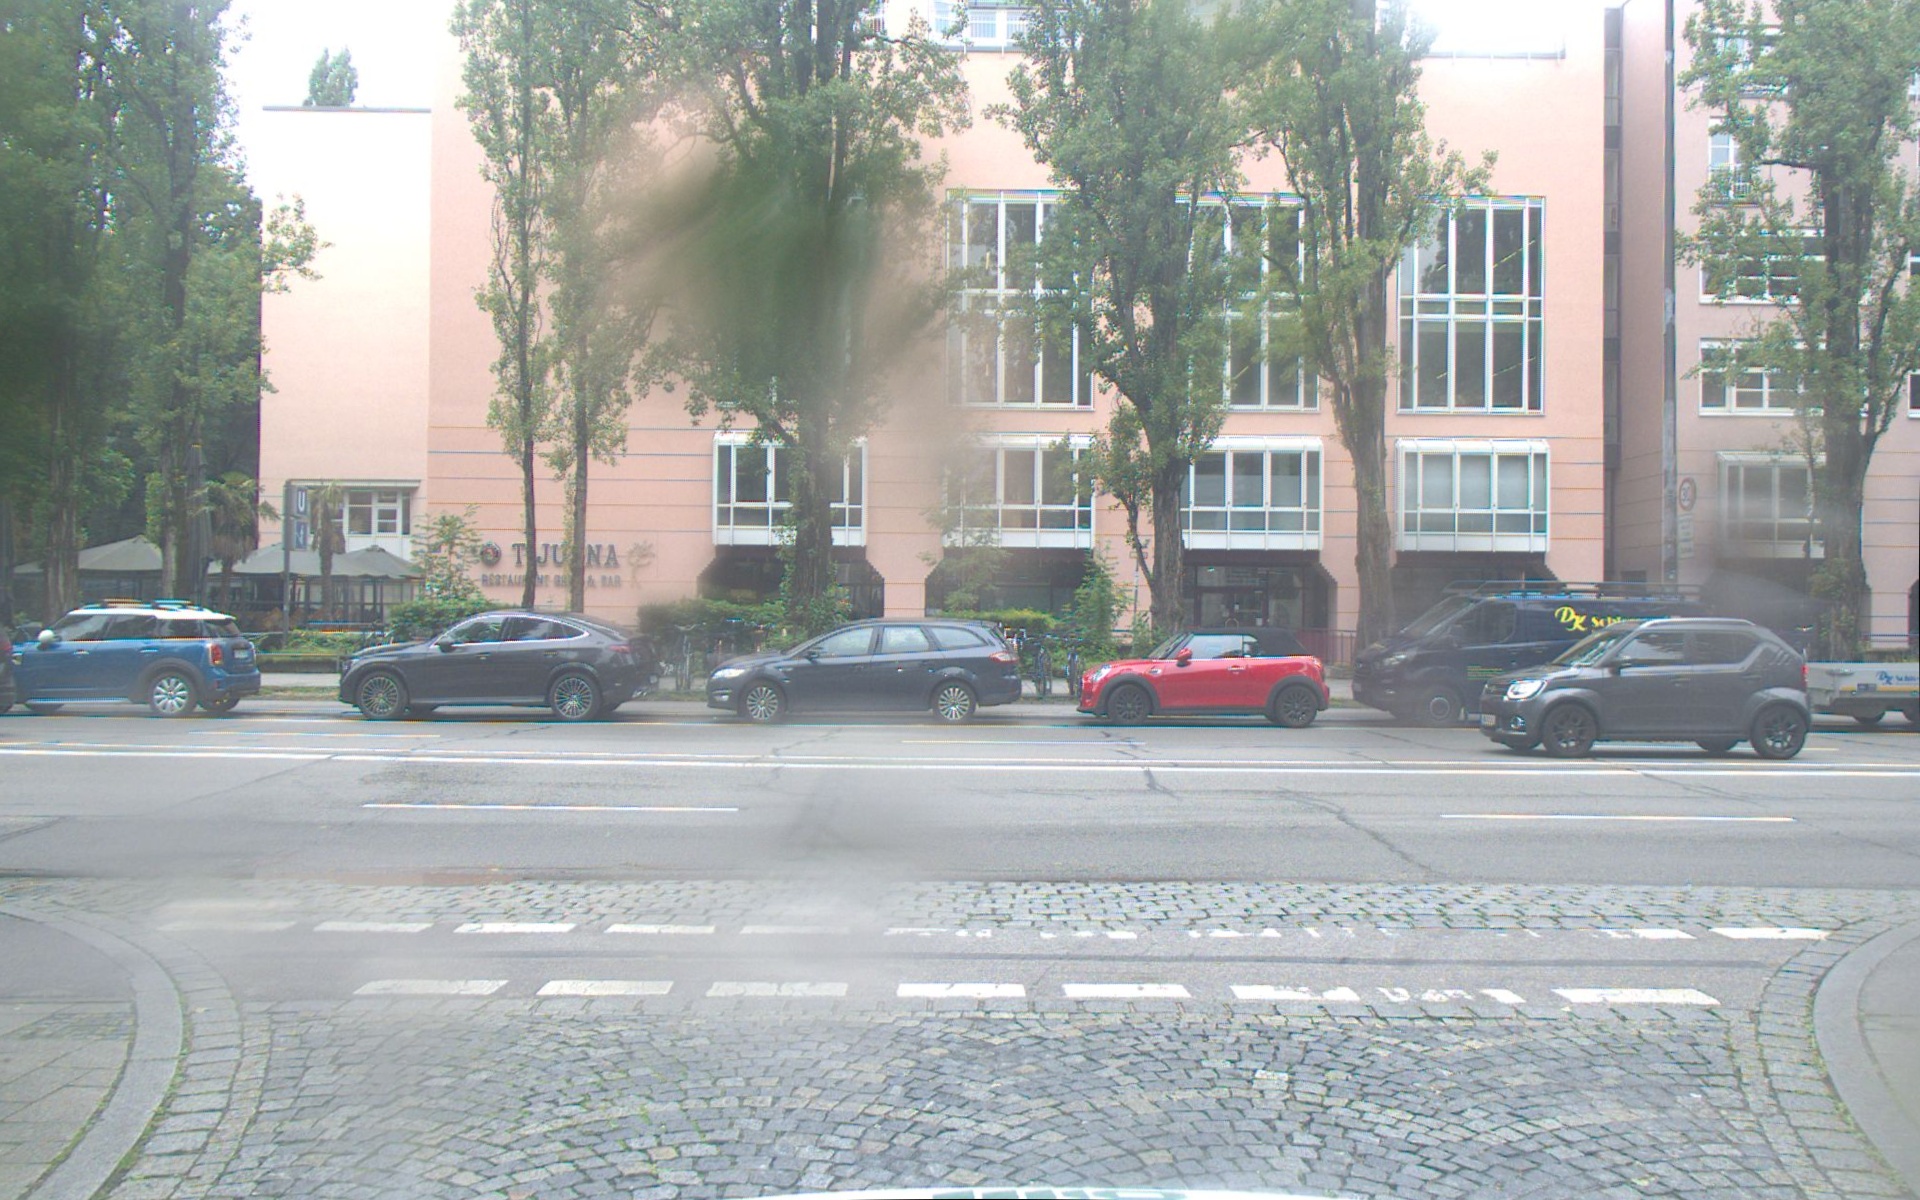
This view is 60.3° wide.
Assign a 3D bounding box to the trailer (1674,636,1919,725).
[{"bbox_3d":[14.328,1.207,25.174,5.895,1.220,2.405,0,0,0],"label":"trailer"}]

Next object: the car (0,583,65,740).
[{"bbox_3d":[-13.091,0.677,18.800,4.701,1.752,2.000,1,-1,0],"label":"car"}]

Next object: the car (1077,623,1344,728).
[{"bbox_3d":[3.680,1.101,24.768,3.780,1.474,1.679,0,0,2],"label":"car"}]

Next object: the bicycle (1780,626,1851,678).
[{"bbox_3d":[19.973,1.195,38.659,0.660,1.144,1.989,0,0,0],"label":"bicycle"}]

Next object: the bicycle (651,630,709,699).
[{"bbox_3d":[-4.897,1.111,29.008,0.660,1.144,1.989,0,0,0],"label":"bicycle"}]

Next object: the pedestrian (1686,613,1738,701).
[{"bbox_3d":[15.179,1.139,33.404,0.714,1.743,0.709,1,0,0],"label":"pedestrian"}]

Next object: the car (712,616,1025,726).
[{"bbox_3d":[-1.325,1.035,24.869,4.514,1.555,1.793,0,0,-1],"label":"car"}]

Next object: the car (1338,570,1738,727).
[{"bbox_3d":[8.642,0.707,25.062,5.367,2.235,2.023,0,0,-1],"label":"car"}]

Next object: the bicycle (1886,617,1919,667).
[{"bbox_3d":[22.582,0.983,38.679,0.660,1.144,2.107,0,0,0],"label":"bicycle"}]

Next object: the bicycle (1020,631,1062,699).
[{"bbox_3d":[1.419,1.132,29.234,0.660,1.144,1.742,0,0,0],"label":"bicycle"}]

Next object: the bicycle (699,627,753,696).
[{"bbox_3d":[-4.099,1.059,29.083,0.660,1.144,1.989,0,0,0],"label":"bicycle"}]

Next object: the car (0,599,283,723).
[{"bbox_3d":[-12.475,0.904,24.658,3.983,1.762,1.792,0,-2,-2],"label":"car"}]

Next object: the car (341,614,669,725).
[{"bbox_3d":[-6.740,1.015,24.851,4.408,1.555,1.793,0,0,-1],"label":"car"}]

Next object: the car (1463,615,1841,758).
[{"bbox_3d":[7.996,0.980,19.365,3.663,1.554,1.849,1,-1,0],"label":"car"}]

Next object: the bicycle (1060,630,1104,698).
[{"bbox_3d":[2.146,1.111,29.211,0.660,1.144,1.742,0,0,0],"label":"bicycle"}]

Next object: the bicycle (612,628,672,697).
[{"bbox_3d":[-5.555,1.075,29.010,0.660,1.144,1.989,0,0,0],"label":"bicycle"}]
